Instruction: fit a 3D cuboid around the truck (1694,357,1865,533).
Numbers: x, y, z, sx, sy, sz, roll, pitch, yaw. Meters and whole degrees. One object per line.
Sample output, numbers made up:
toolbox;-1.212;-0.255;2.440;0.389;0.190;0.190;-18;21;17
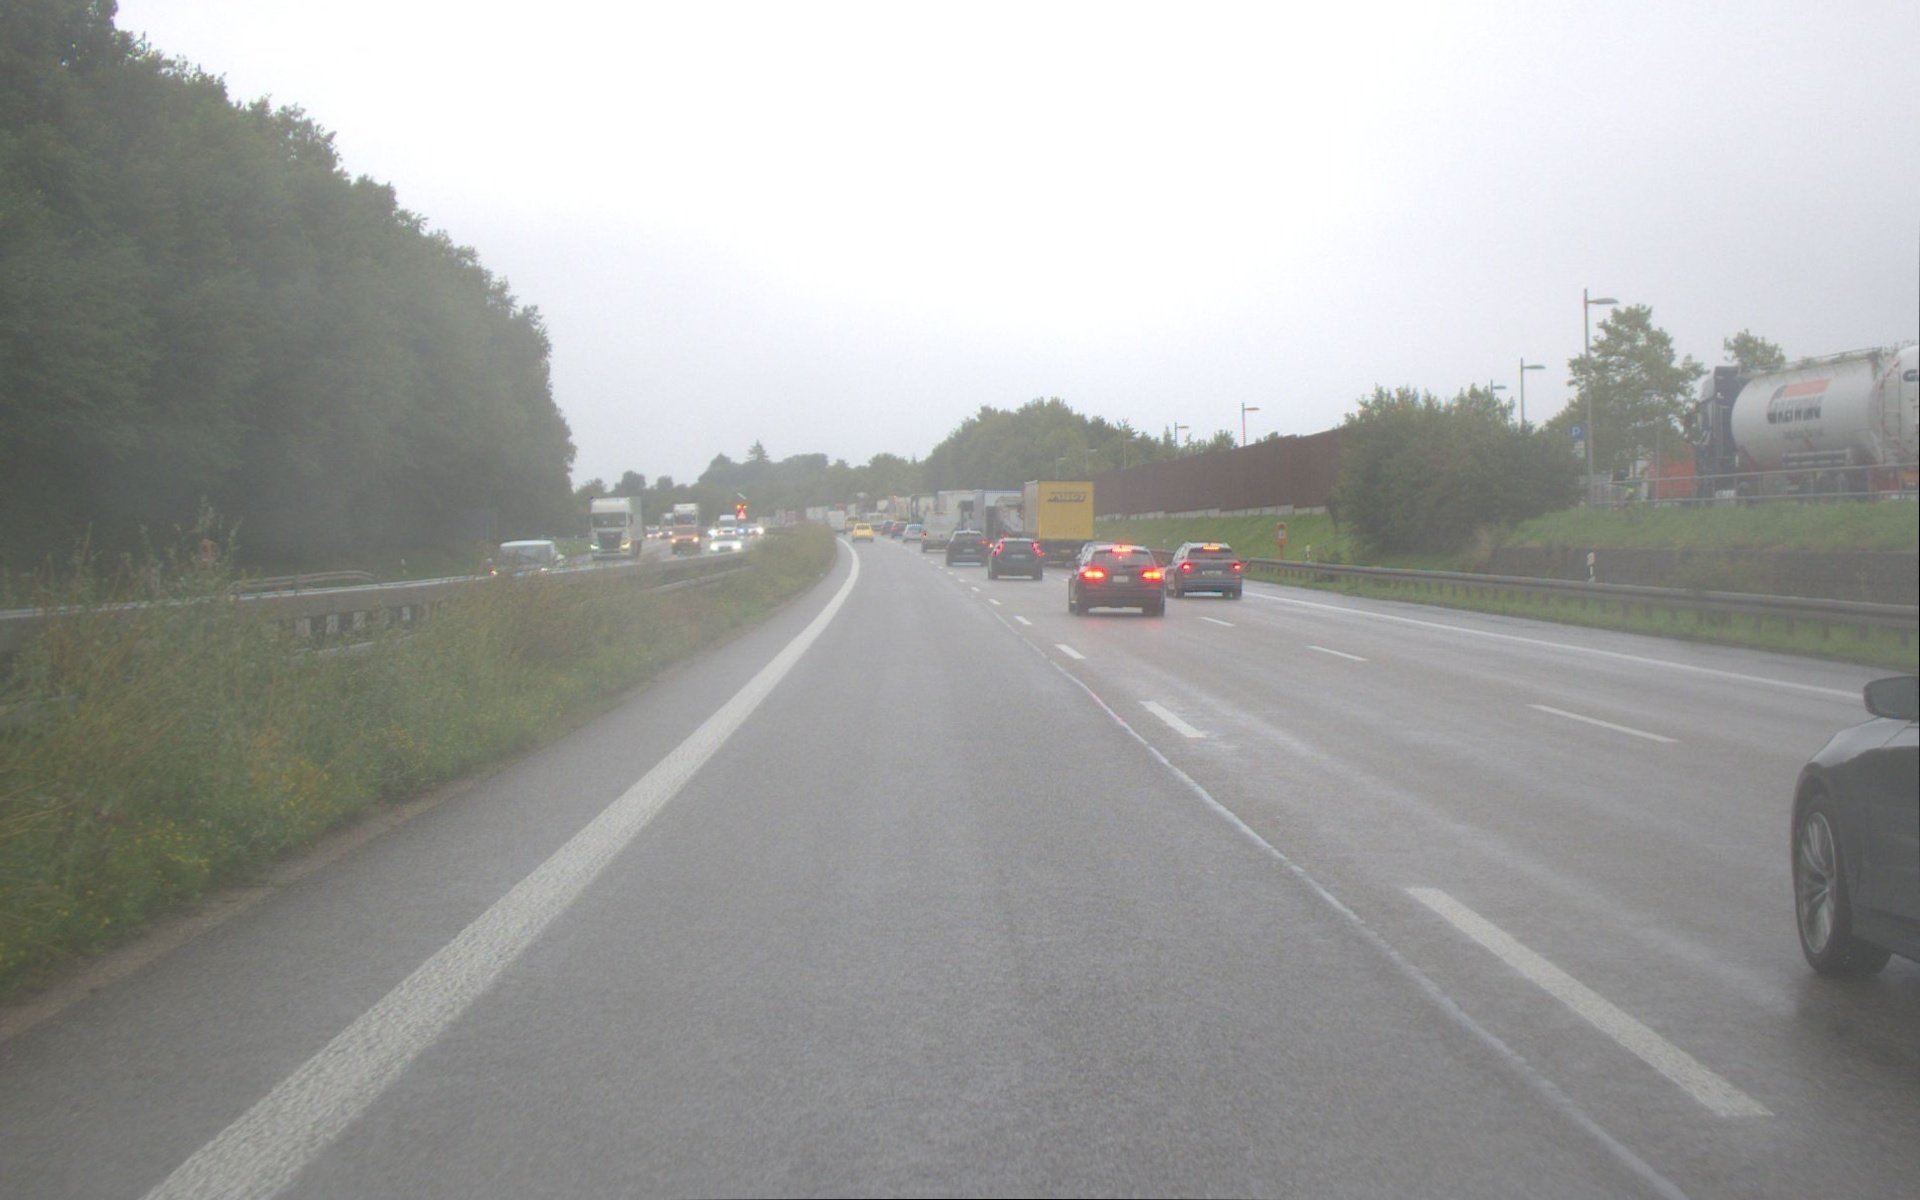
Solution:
truck;20.077;-3.748;84.504;2.949;4.131;4.922;-1;1;0

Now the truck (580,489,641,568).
truck;-22.467;-4.583;221.221;2.990;4.919;9.483;-1;1;-1

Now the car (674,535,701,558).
car;-19.010;-3.736;240.256;1.603;1.578;3.572;-1;1;-1

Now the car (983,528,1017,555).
car;2.485;-3.613;213.457;1.993;1.623;4.000;-1;1;-1

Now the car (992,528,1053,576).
car;2.192;-1.699;121.540;1.993;1.623;4.000;-1;1;-1

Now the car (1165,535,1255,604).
car;6.587;-0.818;90.939;1.993;1.755;4.000;-1;1;-1

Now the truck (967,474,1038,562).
truck;2.768;-5.402;227.543;4.287;5.549;12.240;-1;1;-1

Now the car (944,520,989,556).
car;0.287;-2.865;159.810;1.993;1.623;4.000;-1;1;-1

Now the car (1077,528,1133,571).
car;5.719;-2.002;136.054;1.993;1.623;4.000;-1;1;-1

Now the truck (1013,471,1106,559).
truck;4.674;-4.027;164.428;3.924;3.968;12.240;-1;1;-1

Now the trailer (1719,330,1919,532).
trailer;20.145;-3.640;77.502;2.985;4.142;12.957;-1;1;-1

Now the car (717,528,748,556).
car;-13.357;-3.424;201.659;1.603;1.578;3.572;-1;1;-1

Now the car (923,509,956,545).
car;-1.306;-4.619;218.213;1.993;2.197;4.000;-1;1;-1

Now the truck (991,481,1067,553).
truck;3.927;-4.731;198.011;3.924;3.968;12.240;-1;1;-1

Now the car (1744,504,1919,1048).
car;3.974;0.551;10.172;2.058;1.666;5.522;1;0;0

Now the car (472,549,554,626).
car;-11.286;-0.334;87.019;1.603;1.878;3.572;-1;1;-1

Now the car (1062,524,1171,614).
car;3.173;-0.654;70.409;1.993;1.755;4.000;-1;1;-1
